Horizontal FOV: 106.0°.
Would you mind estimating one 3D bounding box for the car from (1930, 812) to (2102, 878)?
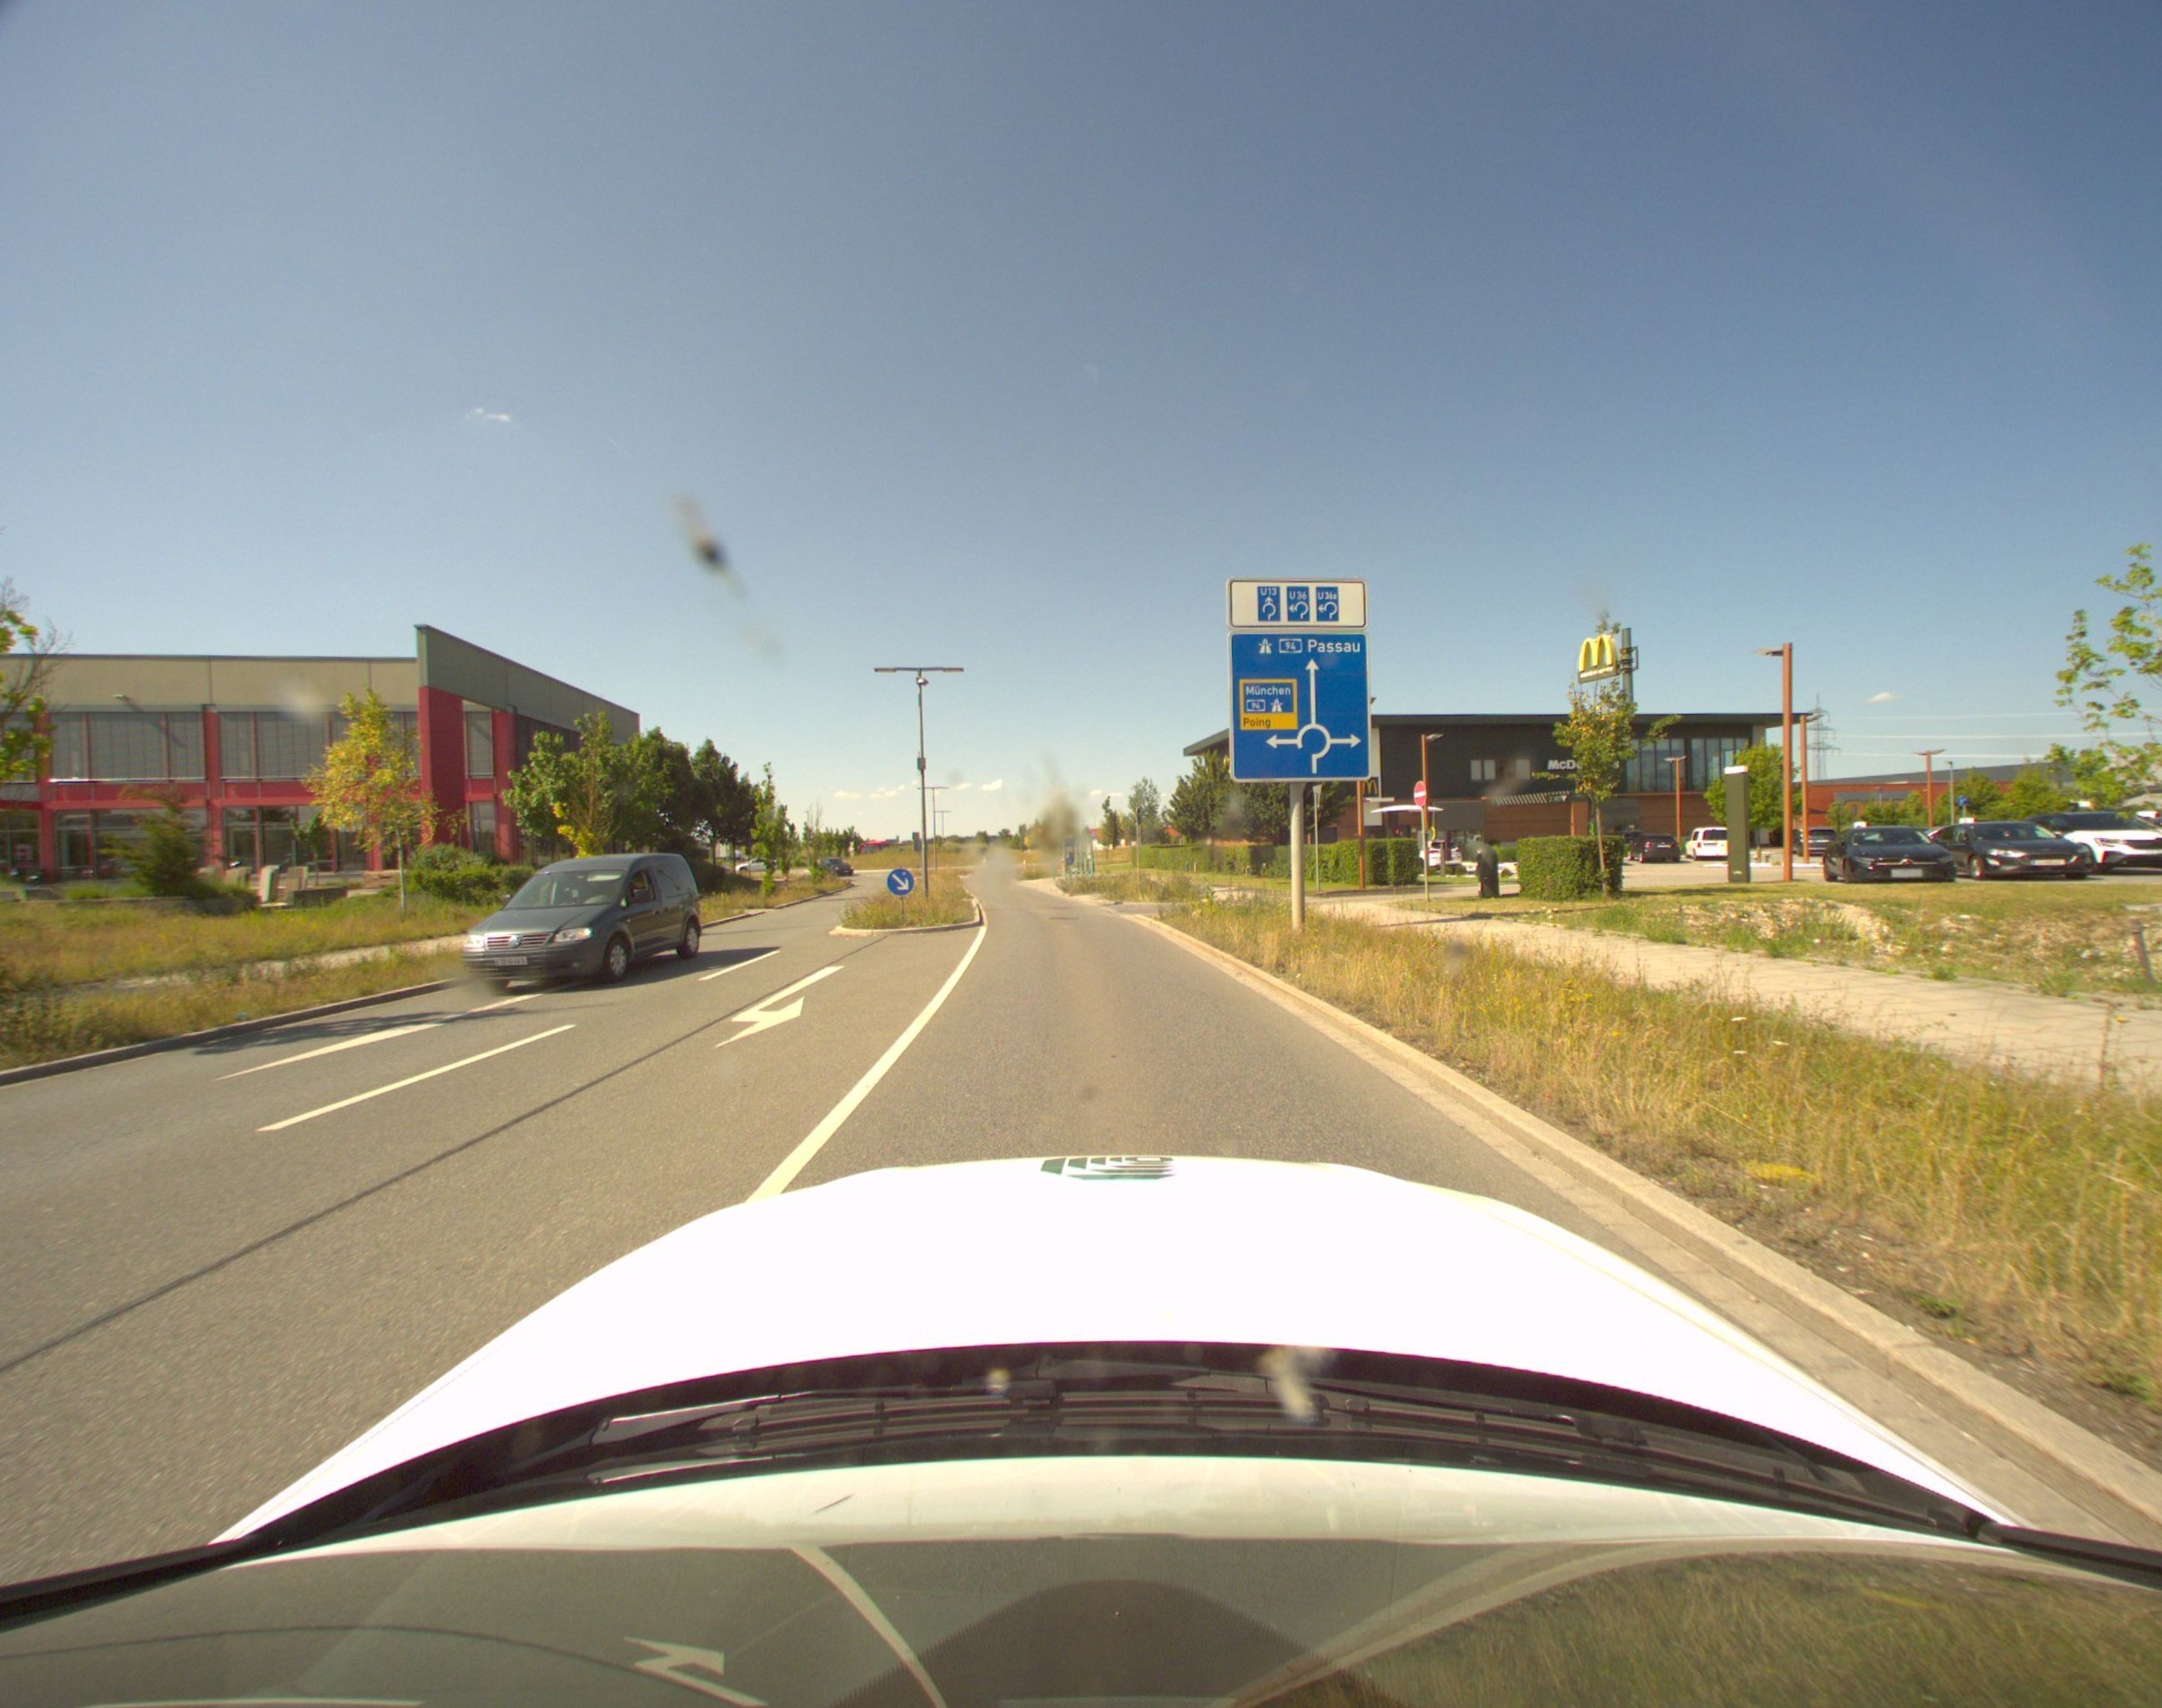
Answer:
[{"bbox_3d":[23.317,-0.220,20.513,1.768,1.462,4.196,-2,0,34],"label":"car"}]

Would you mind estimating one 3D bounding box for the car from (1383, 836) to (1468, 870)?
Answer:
[{"bbox_3d":[15.992,-0.018,38.018,1.792,1.434,3.987,-2,0,-9],"label":"car"}]

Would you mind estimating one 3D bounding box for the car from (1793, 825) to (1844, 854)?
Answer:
[{"bbox_3d":[41.697,-0.833,46.033,4.023,1.520,1.776,-2,0,-43],"label":"car"}]

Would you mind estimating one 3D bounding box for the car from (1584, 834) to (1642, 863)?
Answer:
[{"bbox_3d":[28.343,-0.309,43.527,1.777,1.434,4.021,-2,0,22],"label":"car"}]

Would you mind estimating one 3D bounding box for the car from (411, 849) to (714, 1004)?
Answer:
[{"bbox_3d":[-7.382,0.882,12.273,1.948,1.794,4.418,-3,0,-5],"label":"car"}]

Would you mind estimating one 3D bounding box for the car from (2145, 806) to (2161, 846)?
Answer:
[{"bbox_3d":[46.891,-1.215,33.976,1.768,1.757,4.196,-2,0,34],"label":"car"}]

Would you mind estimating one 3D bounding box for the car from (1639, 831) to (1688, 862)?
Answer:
[{"bbox_3d":[31.396,-0.412,43.998,1.775,1.513,4.025,-2,0,31],"label":"car"}]

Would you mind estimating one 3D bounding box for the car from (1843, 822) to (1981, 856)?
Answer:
[{"bbox_3d":[37.396,-0.657,36.806,4.126,1.373,1.810,-2,0,37],"label":"car"}]

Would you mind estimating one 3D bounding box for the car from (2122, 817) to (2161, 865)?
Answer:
[{"bbox_3d":[30.233,-0.387,21.736,1.768,1.297,4.196,-2,0,34],"label":"car"}]

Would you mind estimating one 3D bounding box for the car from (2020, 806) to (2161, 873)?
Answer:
[{"bbox_3d":[26.671,-0.380,21.245,1.768,1.579,4.196,-2,0,34],"label":"car"}]

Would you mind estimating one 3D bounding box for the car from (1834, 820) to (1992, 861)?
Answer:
[{"bbox_3d":[31.575,-0.497,31.097,3.948,1.373,1.810,-2,0,37],"label":"car"}]

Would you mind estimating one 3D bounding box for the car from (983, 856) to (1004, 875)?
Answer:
[{"bbox_3d":[-7.201,0.941,66.566,1.615,1.434,3.783,-2,0,-7],"label":"car"}]

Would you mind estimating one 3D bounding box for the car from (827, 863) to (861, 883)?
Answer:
[{"bbox_3d":[-20.532,1.686,70.500,1.770,1.543,4.199,-4,0,-31],"label":"car"}]

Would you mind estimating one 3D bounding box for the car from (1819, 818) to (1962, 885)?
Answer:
[{"bbox_3d":[19.627,-0.077,19.948,1.680,1.462,4.196,-2,0,34],"label":"car"}]

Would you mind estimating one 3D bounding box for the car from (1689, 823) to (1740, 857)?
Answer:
[{"bbox_3d":[34.962,-0.770,45.044,1.775,1.702,4.026,-2,0,32],"label":"car"}]

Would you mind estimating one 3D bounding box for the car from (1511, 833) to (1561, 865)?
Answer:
[{"bbox_3d":[24.229,-0.278,43.491,1.777,1.604,4.021,-2,0,22],"label":"car"}]

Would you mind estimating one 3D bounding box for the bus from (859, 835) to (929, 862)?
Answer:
[{"bbox_3d":[-24.866,-0.793,109.063,2.764,3.078,12.266,-2,2,20],"label":"bus"}]
